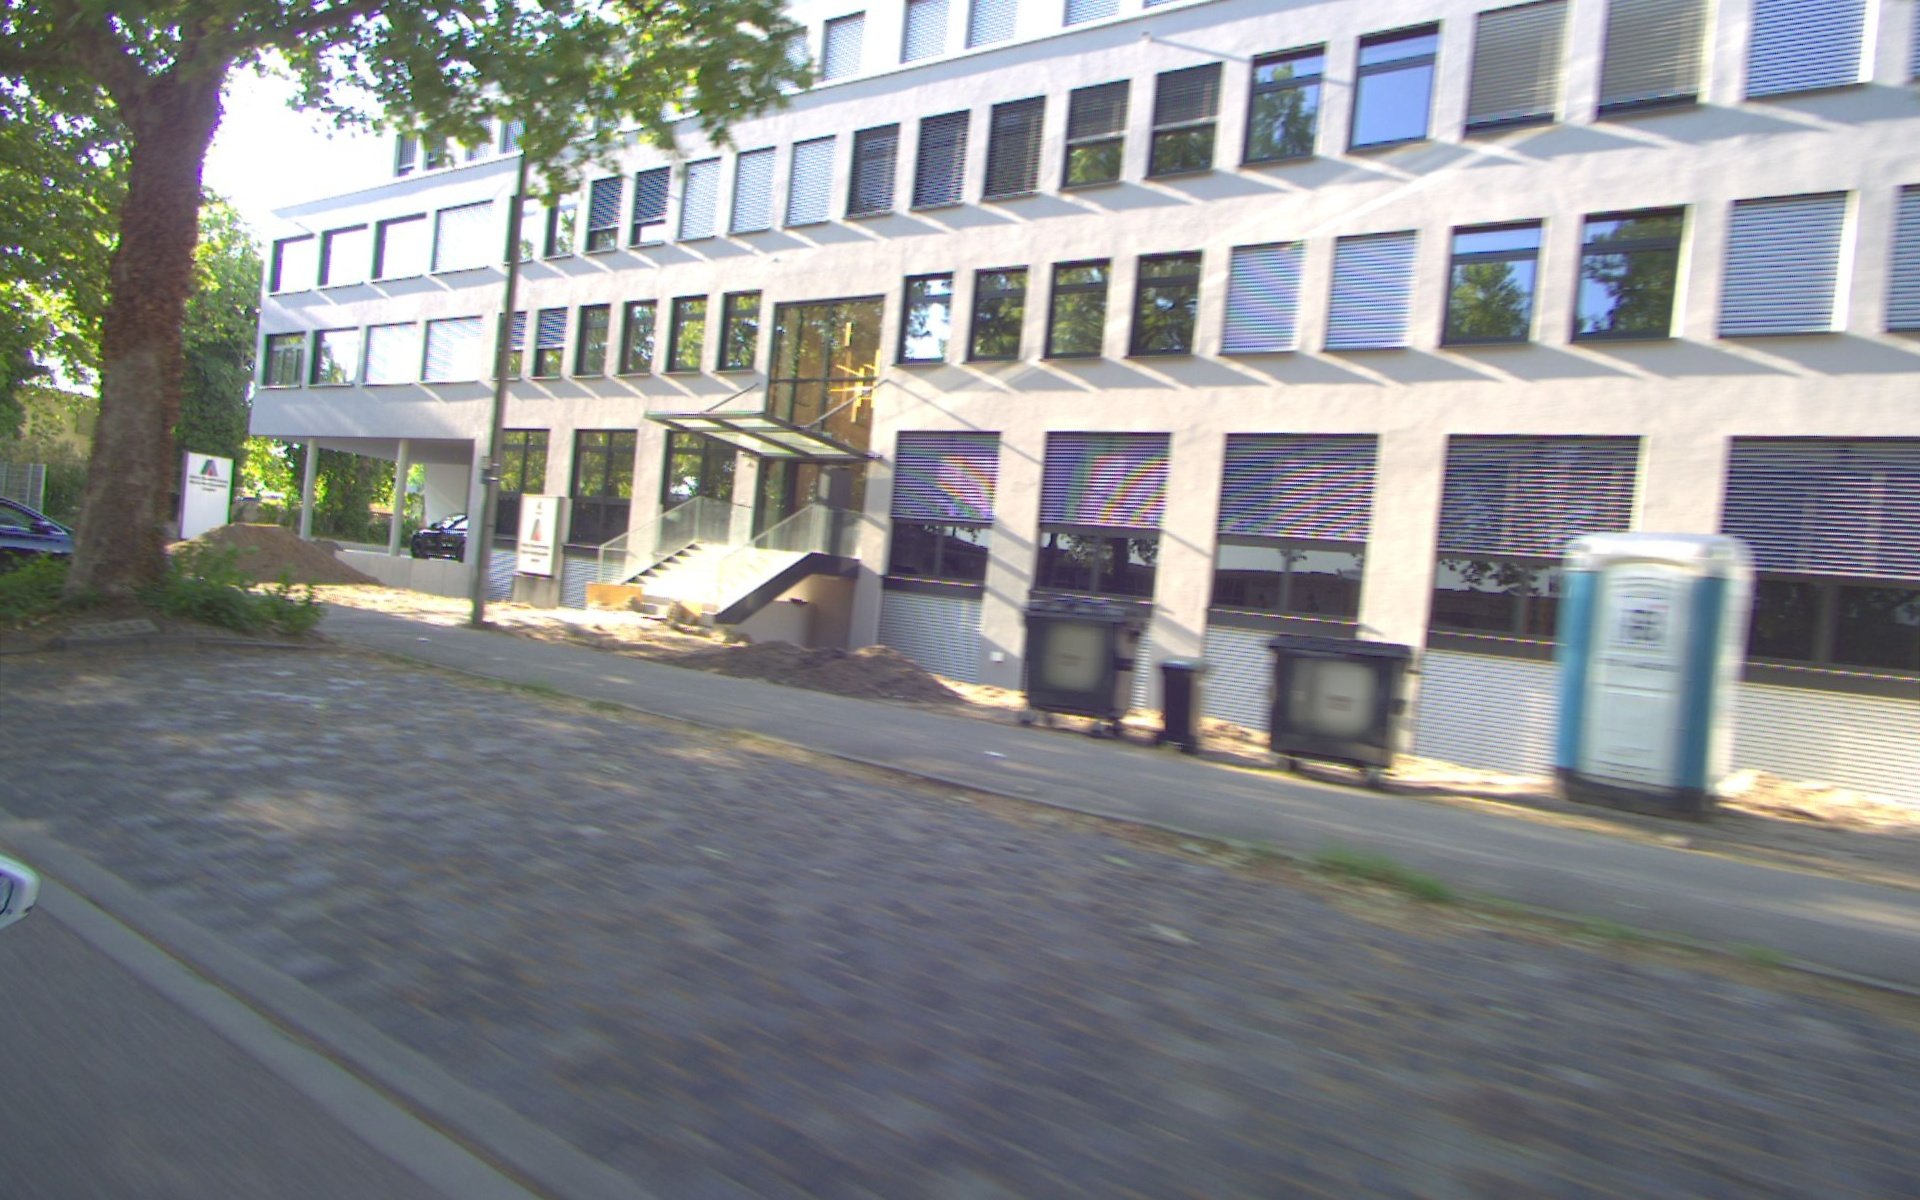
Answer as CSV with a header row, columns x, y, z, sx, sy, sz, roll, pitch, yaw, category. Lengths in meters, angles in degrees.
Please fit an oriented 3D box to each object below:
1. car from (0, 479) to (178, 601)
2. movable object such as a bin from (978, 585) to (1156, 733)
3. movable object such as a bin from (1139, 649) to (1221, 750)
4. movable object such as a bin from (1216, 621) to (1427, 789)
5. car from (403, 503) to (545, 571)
x,y,z,sx,sy,sz,roll,pitch,yaw,category
-12.882,-0.823,12.770,1.829,1.506,4.285,5,2,29,car
1.130,0.613,10.672,1.594,1.366,0.749,5,-2,32,movable object such as a bin
2.187,0.981,9.986,0.589,0.910,0.493,5,-2,31,movable object such as a bin
3.272,0.923,9.135,1.585,1.278,0.749,5,-2,32,movable object such as a bin
-15.453,-2.026,31.908,4.598,1.751,1.995,5,-3,37,car
